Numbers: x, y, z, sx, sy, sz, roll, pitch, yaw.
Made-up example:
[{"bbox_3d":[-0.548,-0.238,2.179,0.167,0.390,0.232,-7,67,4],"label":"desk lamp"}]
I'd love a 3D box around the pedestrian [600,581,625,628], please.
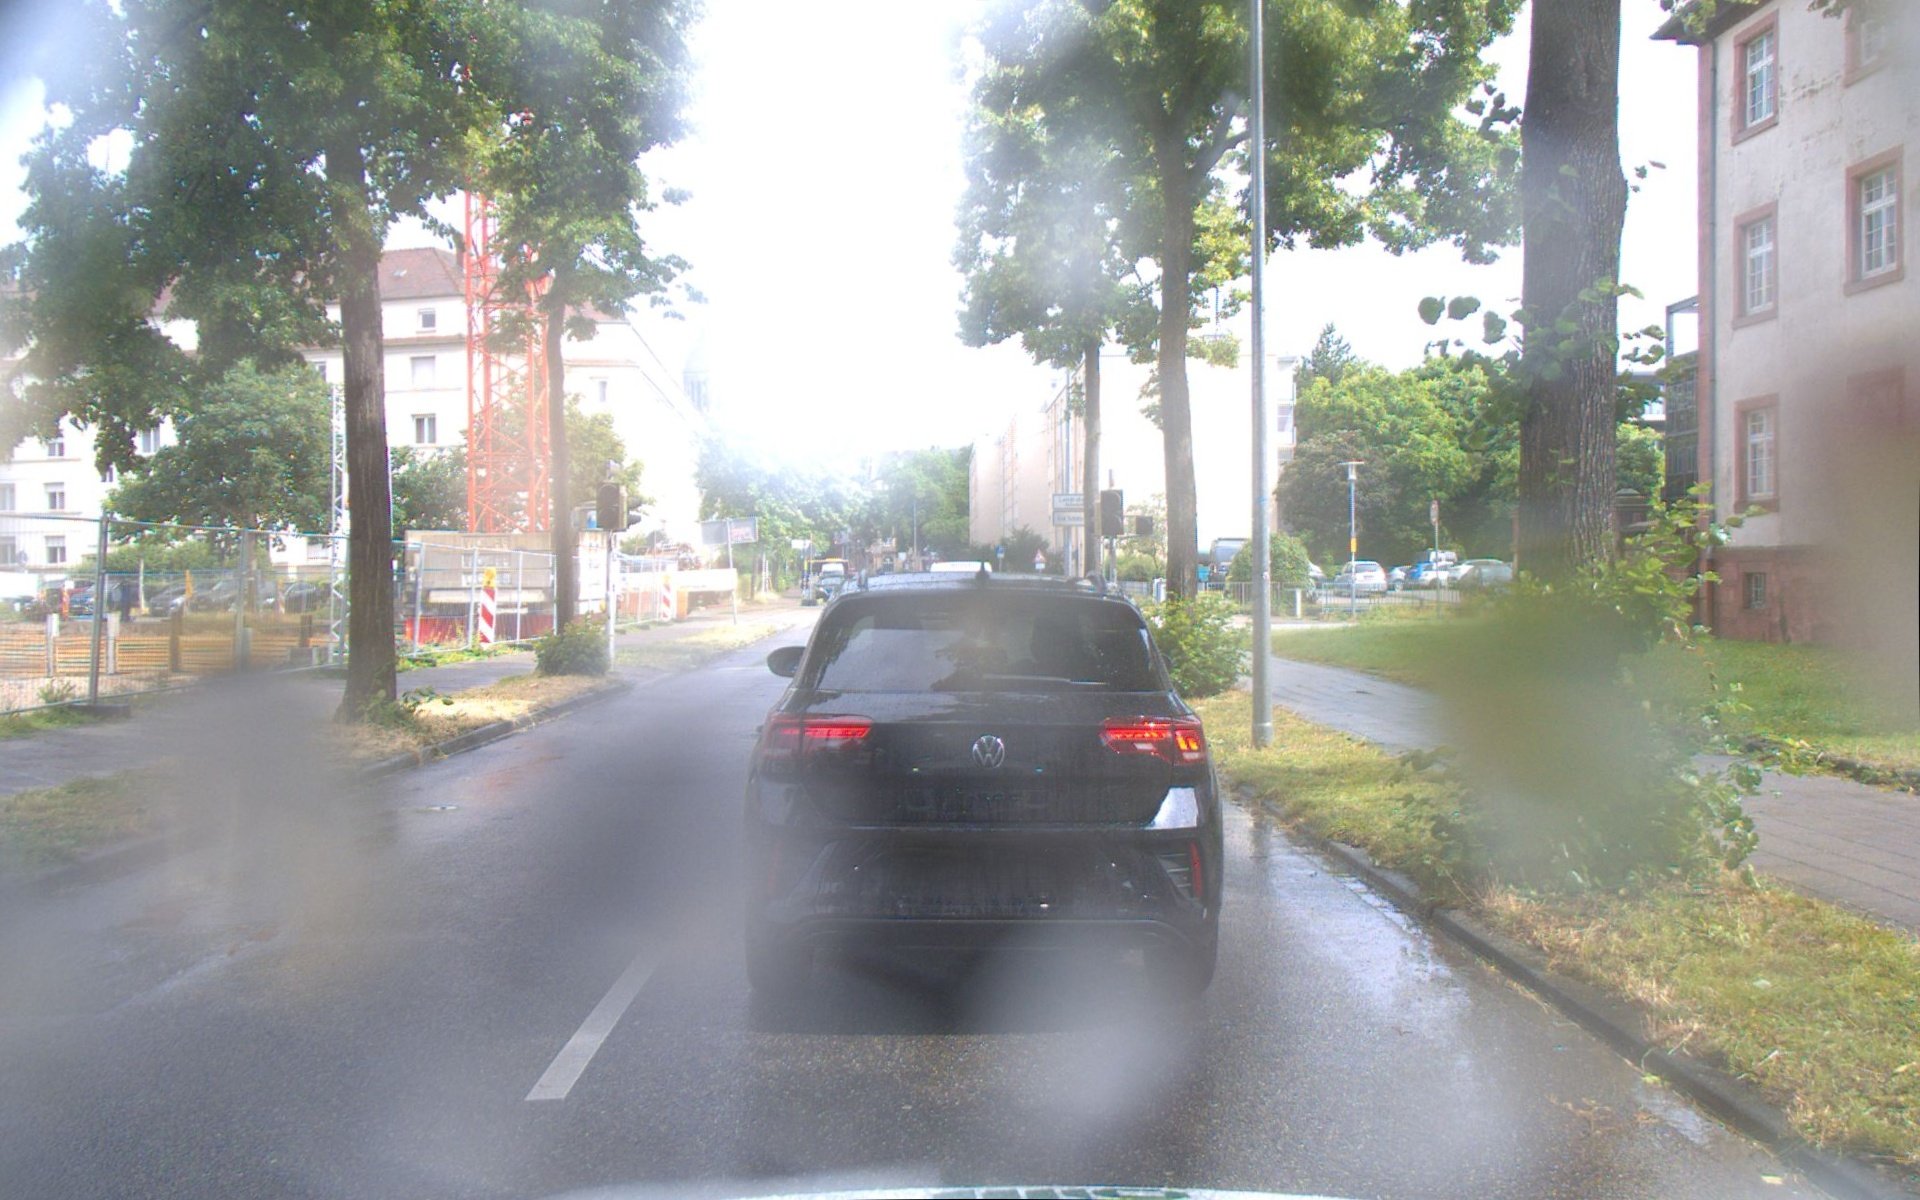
[{"bbox_3d":[-11.386,0.135,54.206,0.652,1.511,0.667,-1,1,-25],"label":"pedestrian"}]

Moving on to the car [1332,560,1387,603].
[{"bbox_3d":[17.482,-0.834,72.576,1.706,1.713,3.873,-3,1,5],"label":"car"}]

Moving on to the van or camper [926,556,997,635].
[{"bbox_3d":[0.062,-0.147,43.367,1.782,1.981,4.195,0,1,1],"label":"van or camper"}]

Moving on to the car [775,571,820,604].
[{"bbox_3d":[-8.279,-0.660,84.583,1.557,1.538,3.734,-3,1,5],"label":"car"}]

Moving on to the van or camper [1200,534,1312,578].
[{"bbox_3d":[13.653,-2.039,76.463,4.775,1.959,2.131,0,1,0],"label":"van or camper"}]

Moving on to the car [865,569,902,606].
[{"bbox_3d":[-3.936,-0.662,85.510,1.753,1.713,4.485,-4,1,-2],"label":"car"}]

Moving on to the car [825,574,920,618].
[{"bbox_3d":[-3.898,-0.185,74.081,3.893,1.679,1.737,-4,1,-36],"label":"car"}]

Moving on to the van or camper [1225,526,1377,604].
[{"bbox_3d":[12.125,-1.237,59.043,4.931,2.641,2.167,-1,1,-2],"label":"van or camper"}]

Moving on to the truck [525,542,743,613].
[{"bbox_3d":[-12.895,-0.936,65.615,8.038,2.703,2.817,0,2,14],"label":"truck"}]

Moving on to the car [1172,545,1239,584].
[{"bbox_3d":[12.799,-1.840,86.371,3.335,1.812,1.761,-4,0,8],"label":"car"}]

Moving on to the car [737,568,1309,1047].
[{"bbox_3d":[0.186,0.641,7.374,1.856,1.549,4.000,0,1,-1],"label":"car"}]

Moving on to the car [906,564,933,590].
[{"bbox_3d":[-2.518,-1.434,103.105,1.559,1.538,3.730,-4,1,-2],"label":"car"}]

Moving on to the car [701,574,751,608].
[{"bbox_3d":[-11.656,-0.447,82.517,1.557,1.538,3.734,-3,1,5],"label":"car"}]

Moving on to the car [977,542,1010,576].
[{"bbox_3d":[2.081,-2.555,104.580,1.953,2.049,3.999,0,0,-1],"label":"car"}]

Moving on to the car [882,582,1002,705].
[{"bbox_3d":[-0.222,0.637,26.573,1.645,1.738,3.911,-3,0,2],"label":"car"}]

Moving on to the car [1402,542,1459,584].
[{"bbox_3d":[25.053,-1.965,88.213,1.952,2.048,4.002,-3,1,3],"label":"car"}]

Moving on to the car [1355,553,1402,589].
[{"bbox_3d":[23.752,-1.652,93.998,1.828,1.889,3.811,-3,1,3],"label":"car"}]

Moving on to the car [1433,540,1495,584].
[{"bbox_3d":[25.238,-1.902,82.952,1.952,2.048,4.002,-3,1,3],"label":"car"}]

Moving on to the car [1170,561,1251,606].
[{"bbox_3d":[10.823,-0.731,71.680,3.335,1.812,1.761,-2,1,6],"label":"car"}]
